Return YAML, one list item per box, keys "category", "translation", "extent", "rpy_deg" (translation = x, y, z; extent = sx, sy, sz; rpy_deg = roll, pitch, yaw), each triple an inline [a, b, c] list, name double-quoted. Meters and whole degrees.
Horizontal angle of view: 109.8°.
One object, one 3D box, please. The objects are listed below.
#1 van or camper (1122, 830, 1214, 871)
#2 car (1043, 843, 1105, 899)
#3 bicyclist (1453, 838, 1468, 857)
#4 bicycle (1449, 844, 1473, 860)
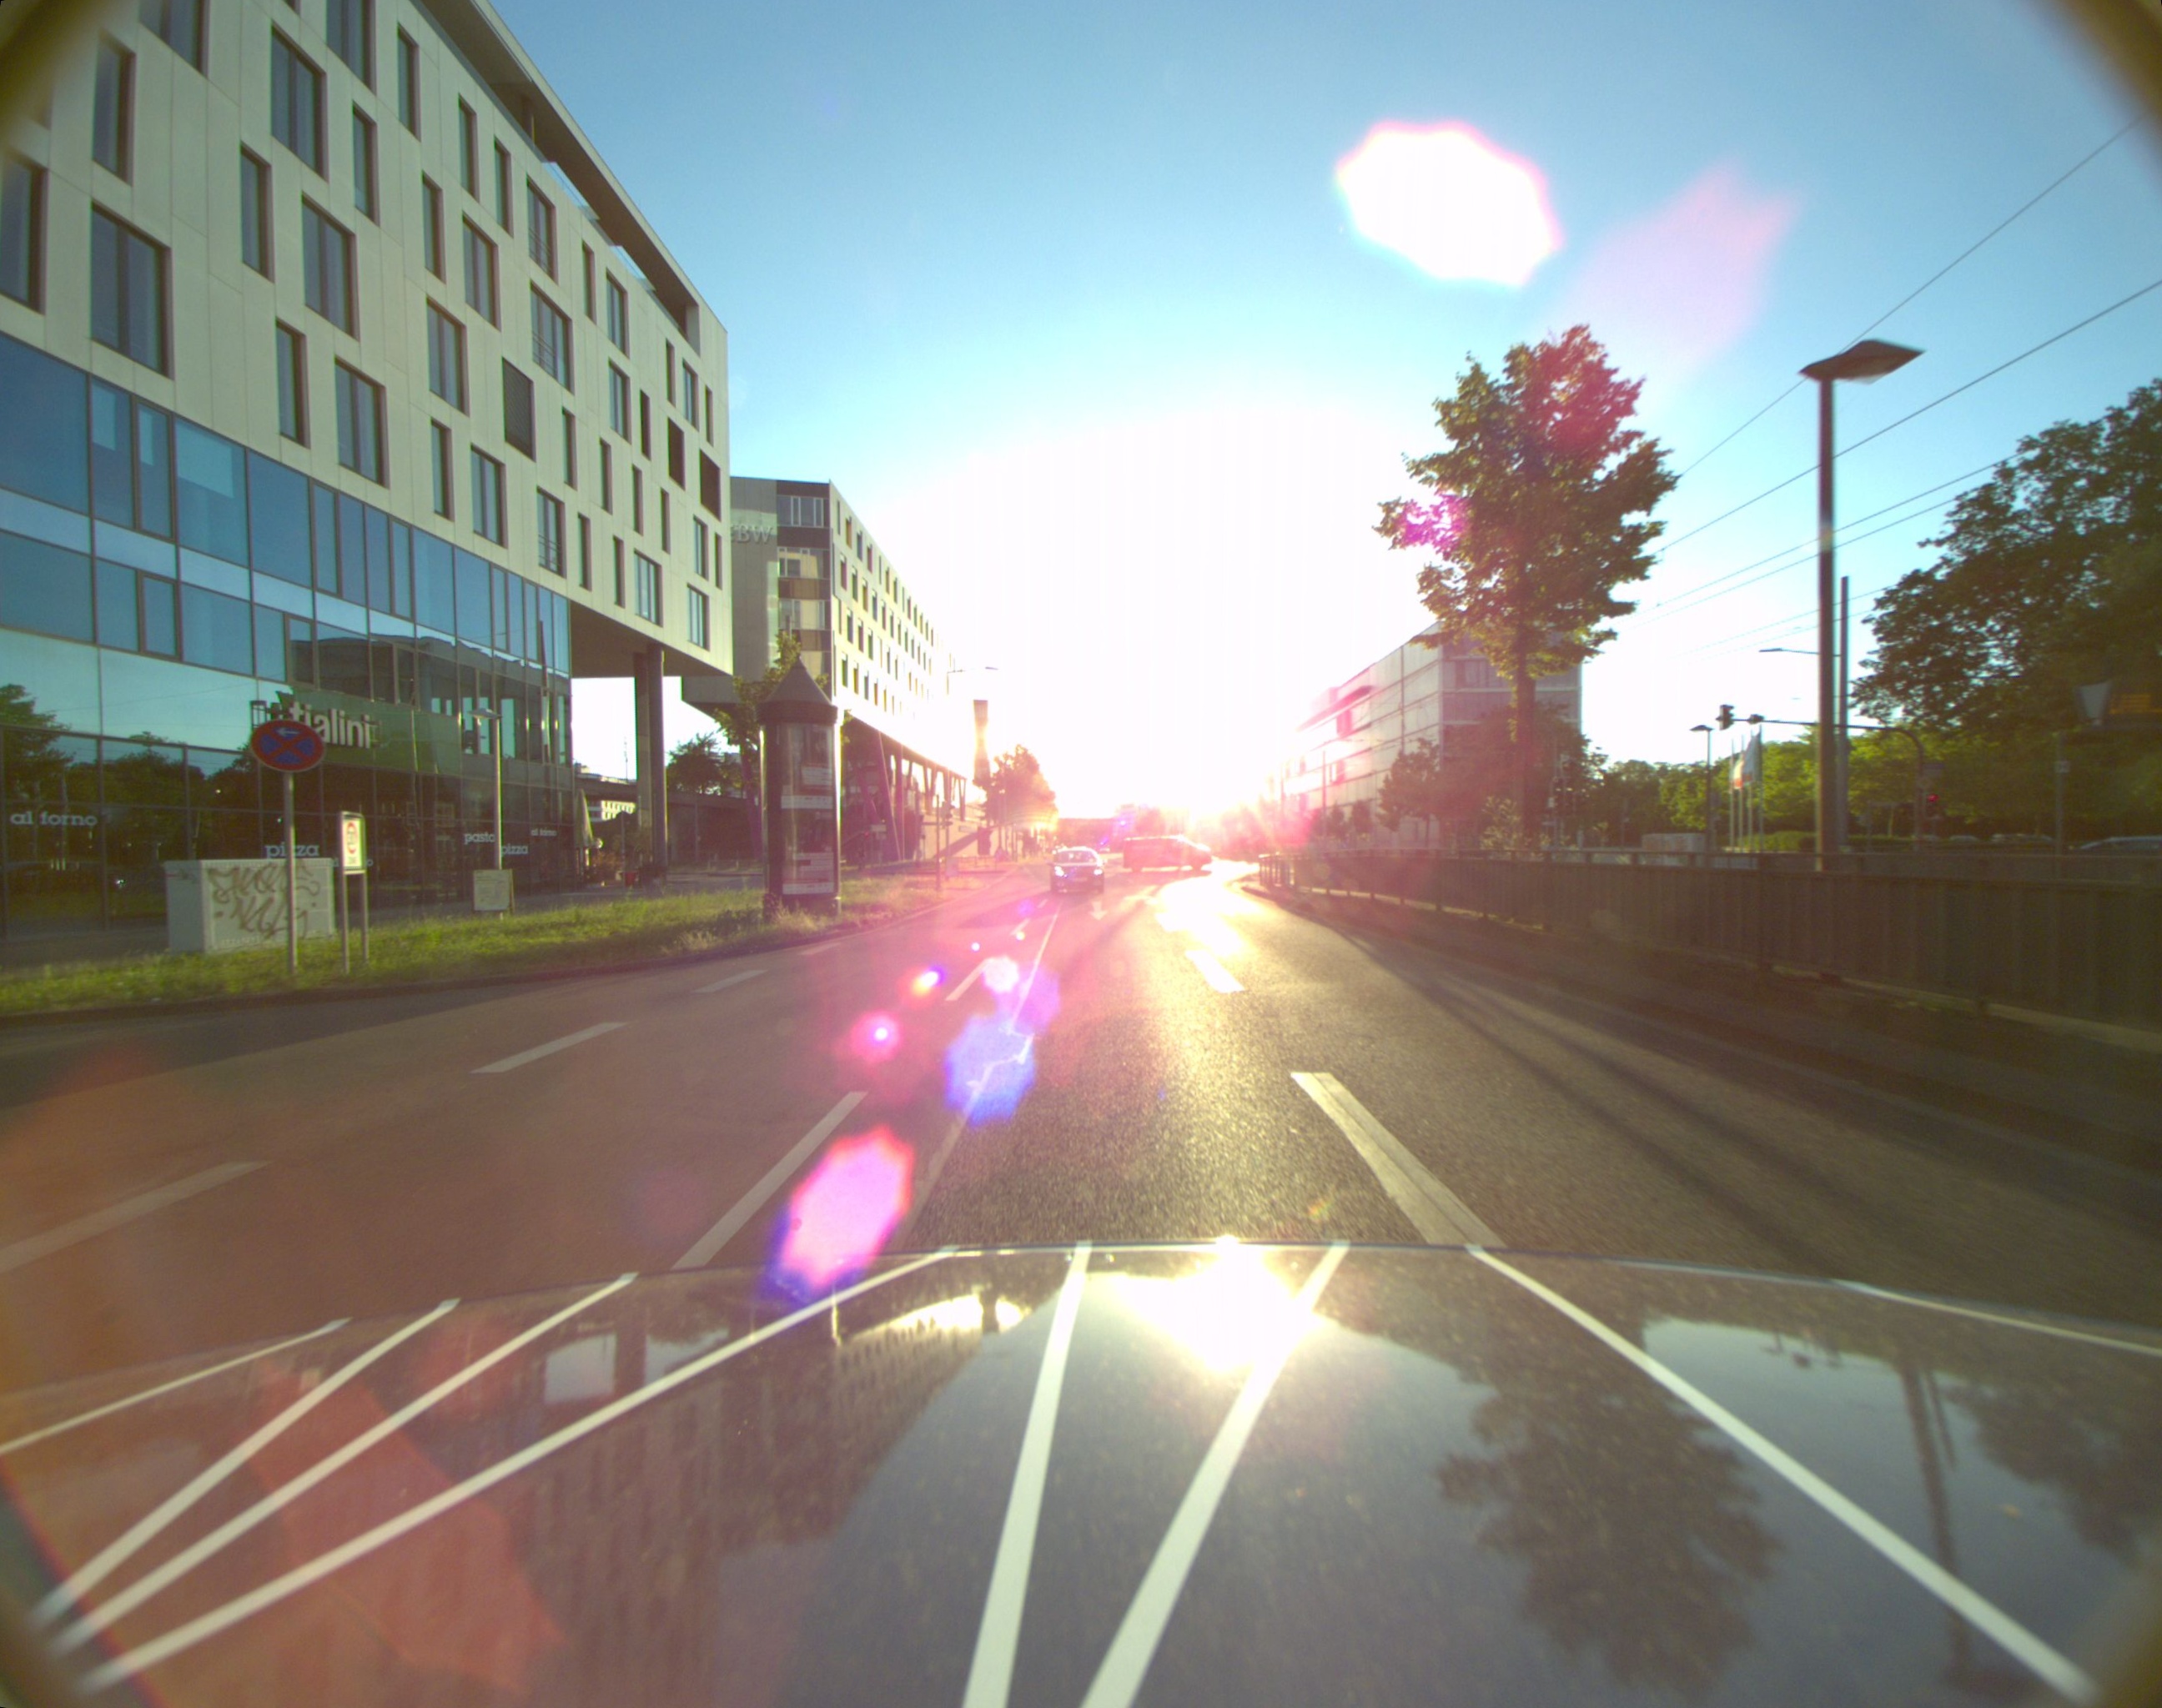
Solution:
- category: "van or camper"
  translation: [4.774, -0.199, 42.086]
  extent: [4.884, 2.002, 2.000]
  rpy_deg: [-2, 1, 3]
- category: "car"
  translation: [-0.197, 0.496, 25.448]
  extent: [1.828, 1.625, 3.999]
  rpy_deg: [-3, 1, 0]
- category: "bicyclist"
  translation: [26.168, -0.430, 52.358]
  extent: [0.642, 1.309, 0.652]
  rpy_deg: [-3, 1, -35]
- category: "bicycle"
  translation: [26.202, -0.130, 52.377]
  extent: [1.794, 0.999, 0.652]
  rpy_deg: [-3, 1, -35]
